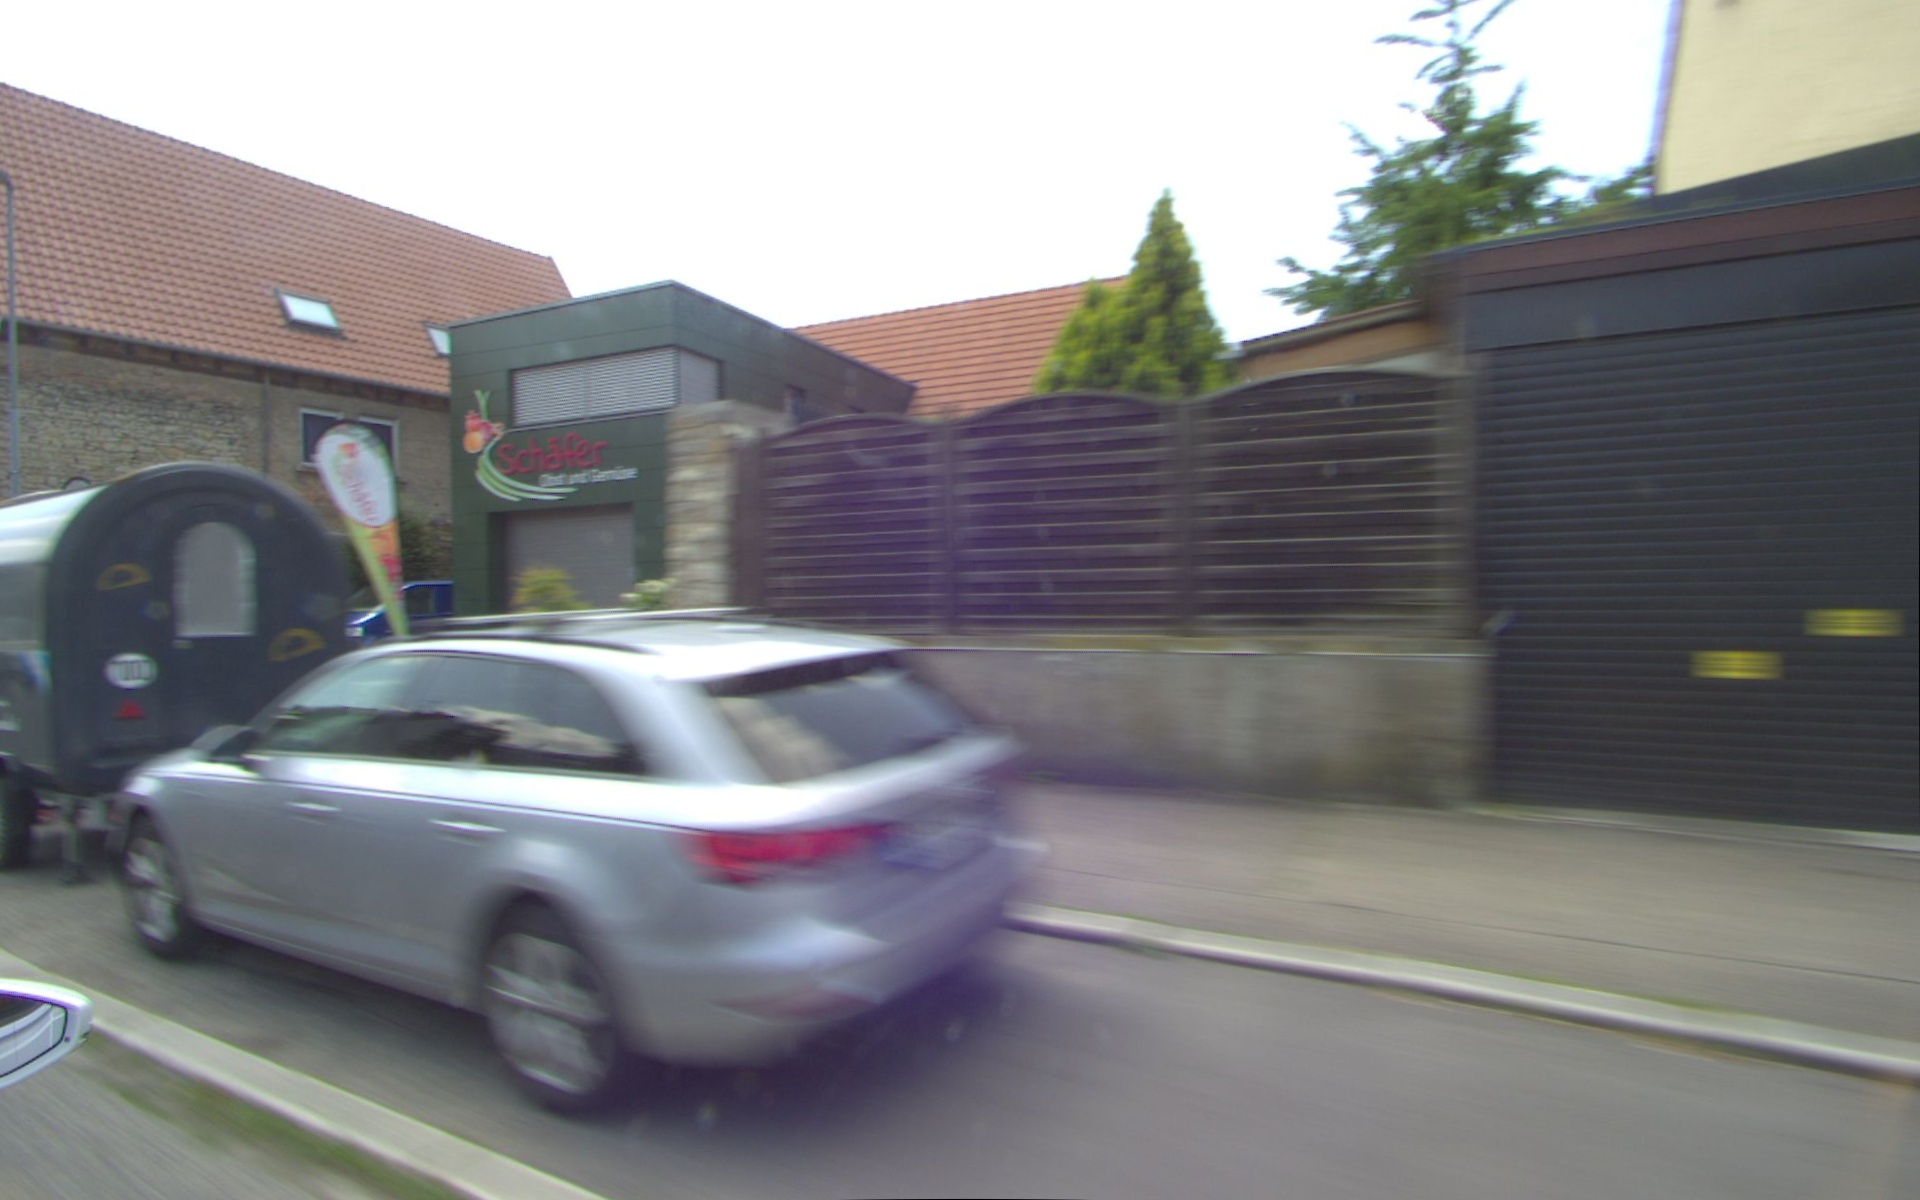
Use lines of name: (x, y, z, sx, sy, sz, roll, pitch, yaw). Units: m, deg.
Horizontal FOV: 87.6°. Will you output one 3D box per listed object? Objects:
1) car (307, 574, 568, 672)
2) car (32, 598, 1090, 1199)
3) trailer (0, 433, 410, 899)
car: (-11.622, 0.481, 22.711, 1.969, 1.976, 5.047, -1, 0, 28)
car: (-1.928, 0.778, 4.394, 4.605, 1.501, 1.872, -1, 0, 30)
trailer: (-5.702, 0.354, 6.798, 3.535, 2.385, 1.842, 0, 1, 29)
